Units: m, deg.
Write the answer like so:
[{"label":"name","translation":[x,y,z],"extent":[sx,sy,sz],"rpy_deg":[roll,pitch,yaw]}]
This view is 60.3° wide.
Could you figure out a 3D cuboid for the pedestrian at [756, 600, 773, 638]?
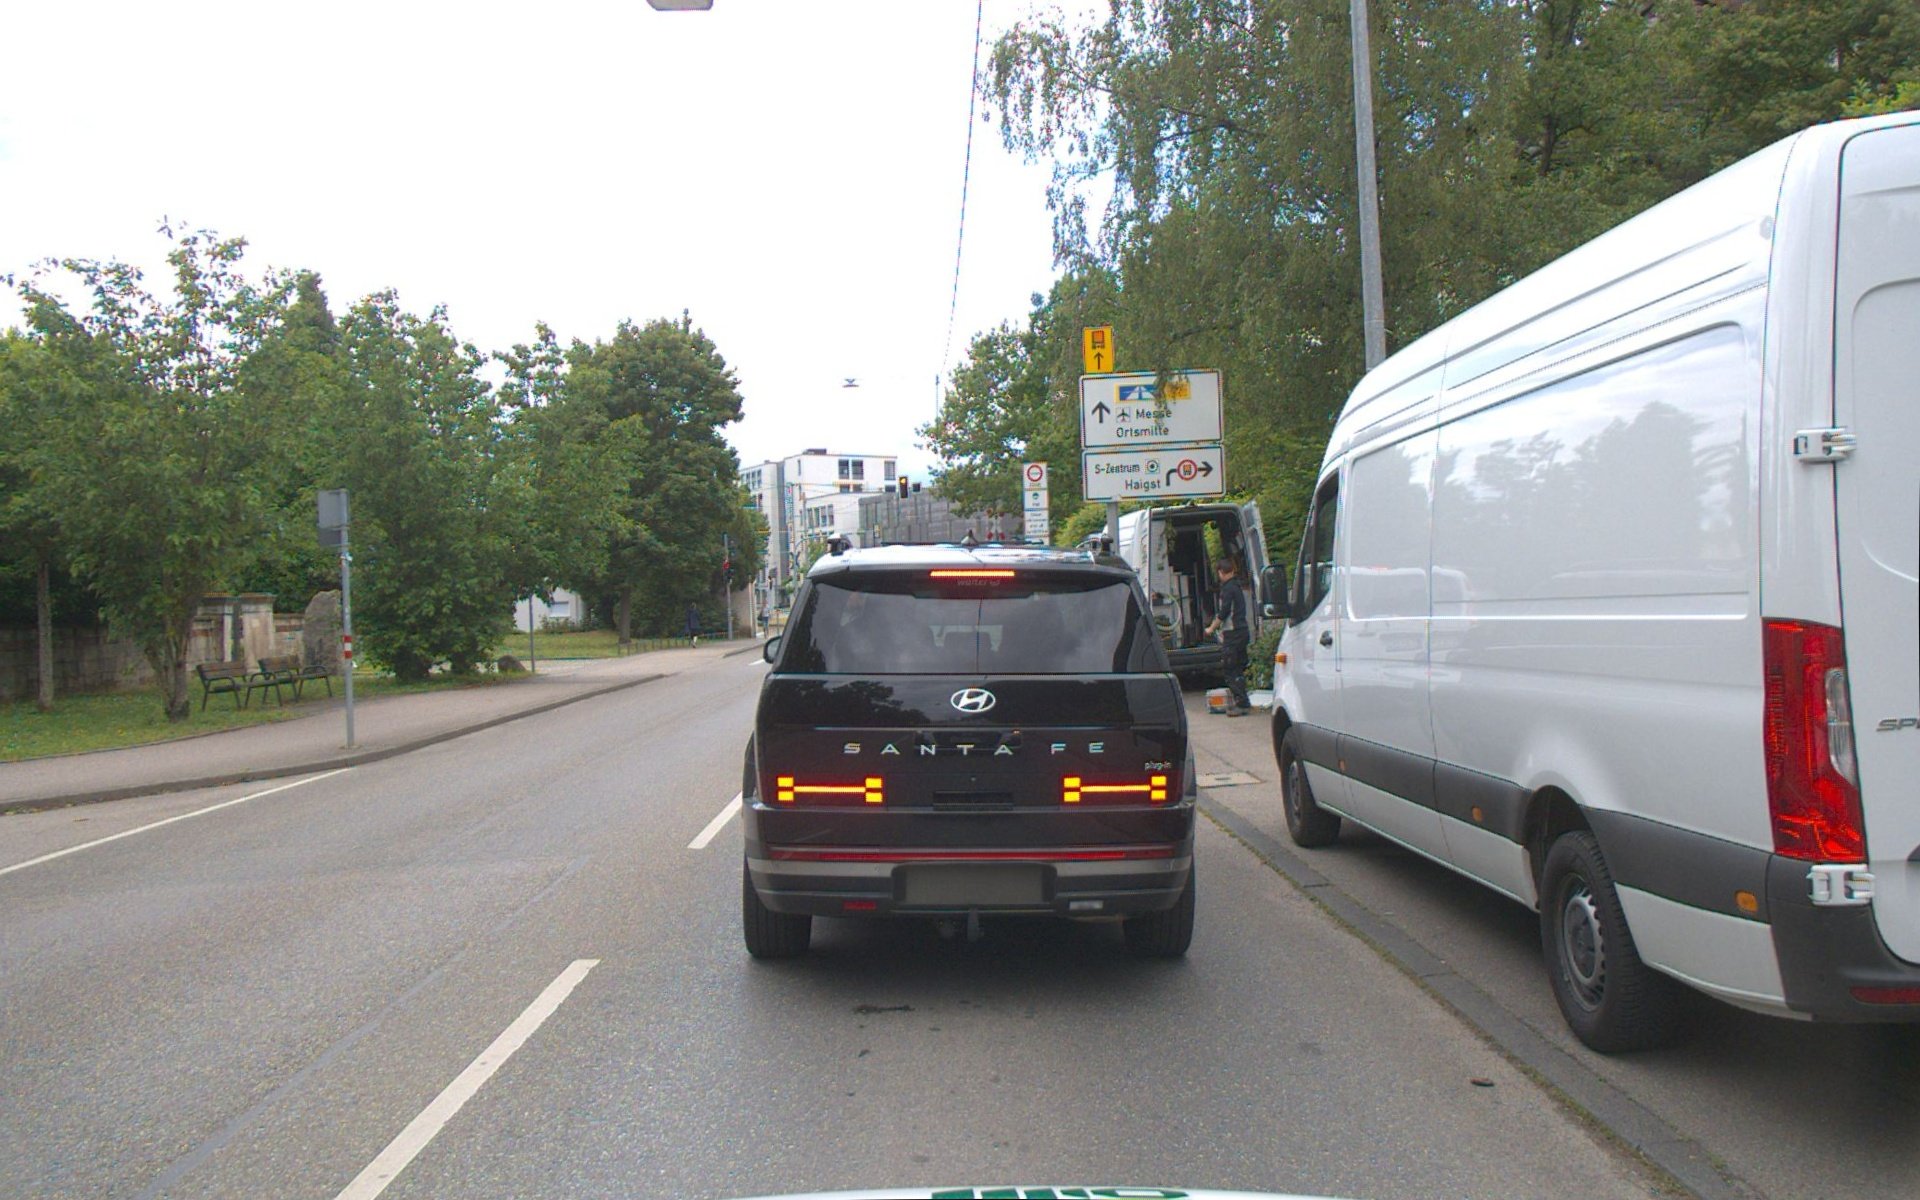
[{"label":"pedestrian","translation":[-9.108,0.876,77.130],"extent":[0.724,1.745,0.791],"rpy_deg":[-2,0,-8]}]

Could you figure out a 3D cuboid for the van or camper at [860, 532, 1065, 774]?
[{"label":"van or camper","translation":[-0.005,0.454,16.366],"extent":[1.719,2.049,3.999],"rpy_deg":[-2,0,-1]}]

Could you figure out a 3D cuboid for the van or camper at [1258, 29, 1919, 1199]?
[{"label":"van or camper","translation":[2.919,0.000,7.063],"extent":[1.953,2.665,6.540],"rpy_deg":[-2,0,-1]}]

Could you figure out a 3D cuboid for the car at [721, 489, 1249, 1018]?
[{"label":"car","translation":[0.061,0.532,7.810],"extent":[1.851,1.851,3.999],"rpy_deg":[0,0,-1]}]

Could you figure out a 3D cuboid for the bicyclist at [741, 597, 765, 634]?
[{"label":"bicyclist","translation":[-9.743,0.750,77.777],"extent":[0.813,1.721,0.716],"rpy_deg":[1,-1,33]}]

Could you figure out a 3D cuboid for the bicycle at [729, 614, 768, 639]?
[{"label":"bicycle","translation":[-9.970,1.245,77.902],"extent":[1.738,1.112,0.697],"rpy_deg":[1,-1,31]}]

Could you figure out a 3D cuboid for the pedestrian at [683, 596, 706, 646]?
[{"label":"pedestrian","translation":[-9.394,0.747,58.563],"extent":[0.724,1.745,0.791],"rpy_deg":[-2,0,-8]}]

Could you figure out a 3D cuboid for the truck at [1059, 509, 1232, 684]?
[{"label":"truck","translation":[3.025,-0.040,28.186],"extent":[1.904,2.606,5.211],"rpy_deg":[-3,0,-4]}]

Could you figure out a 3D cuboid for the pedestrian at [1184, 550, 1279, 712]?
[{"label":"pedestrian","translation":[3.153,0.353,19.206],"extent":[0.853,1.828,0.759],"rpy_deg":[-2,0,28]}]
